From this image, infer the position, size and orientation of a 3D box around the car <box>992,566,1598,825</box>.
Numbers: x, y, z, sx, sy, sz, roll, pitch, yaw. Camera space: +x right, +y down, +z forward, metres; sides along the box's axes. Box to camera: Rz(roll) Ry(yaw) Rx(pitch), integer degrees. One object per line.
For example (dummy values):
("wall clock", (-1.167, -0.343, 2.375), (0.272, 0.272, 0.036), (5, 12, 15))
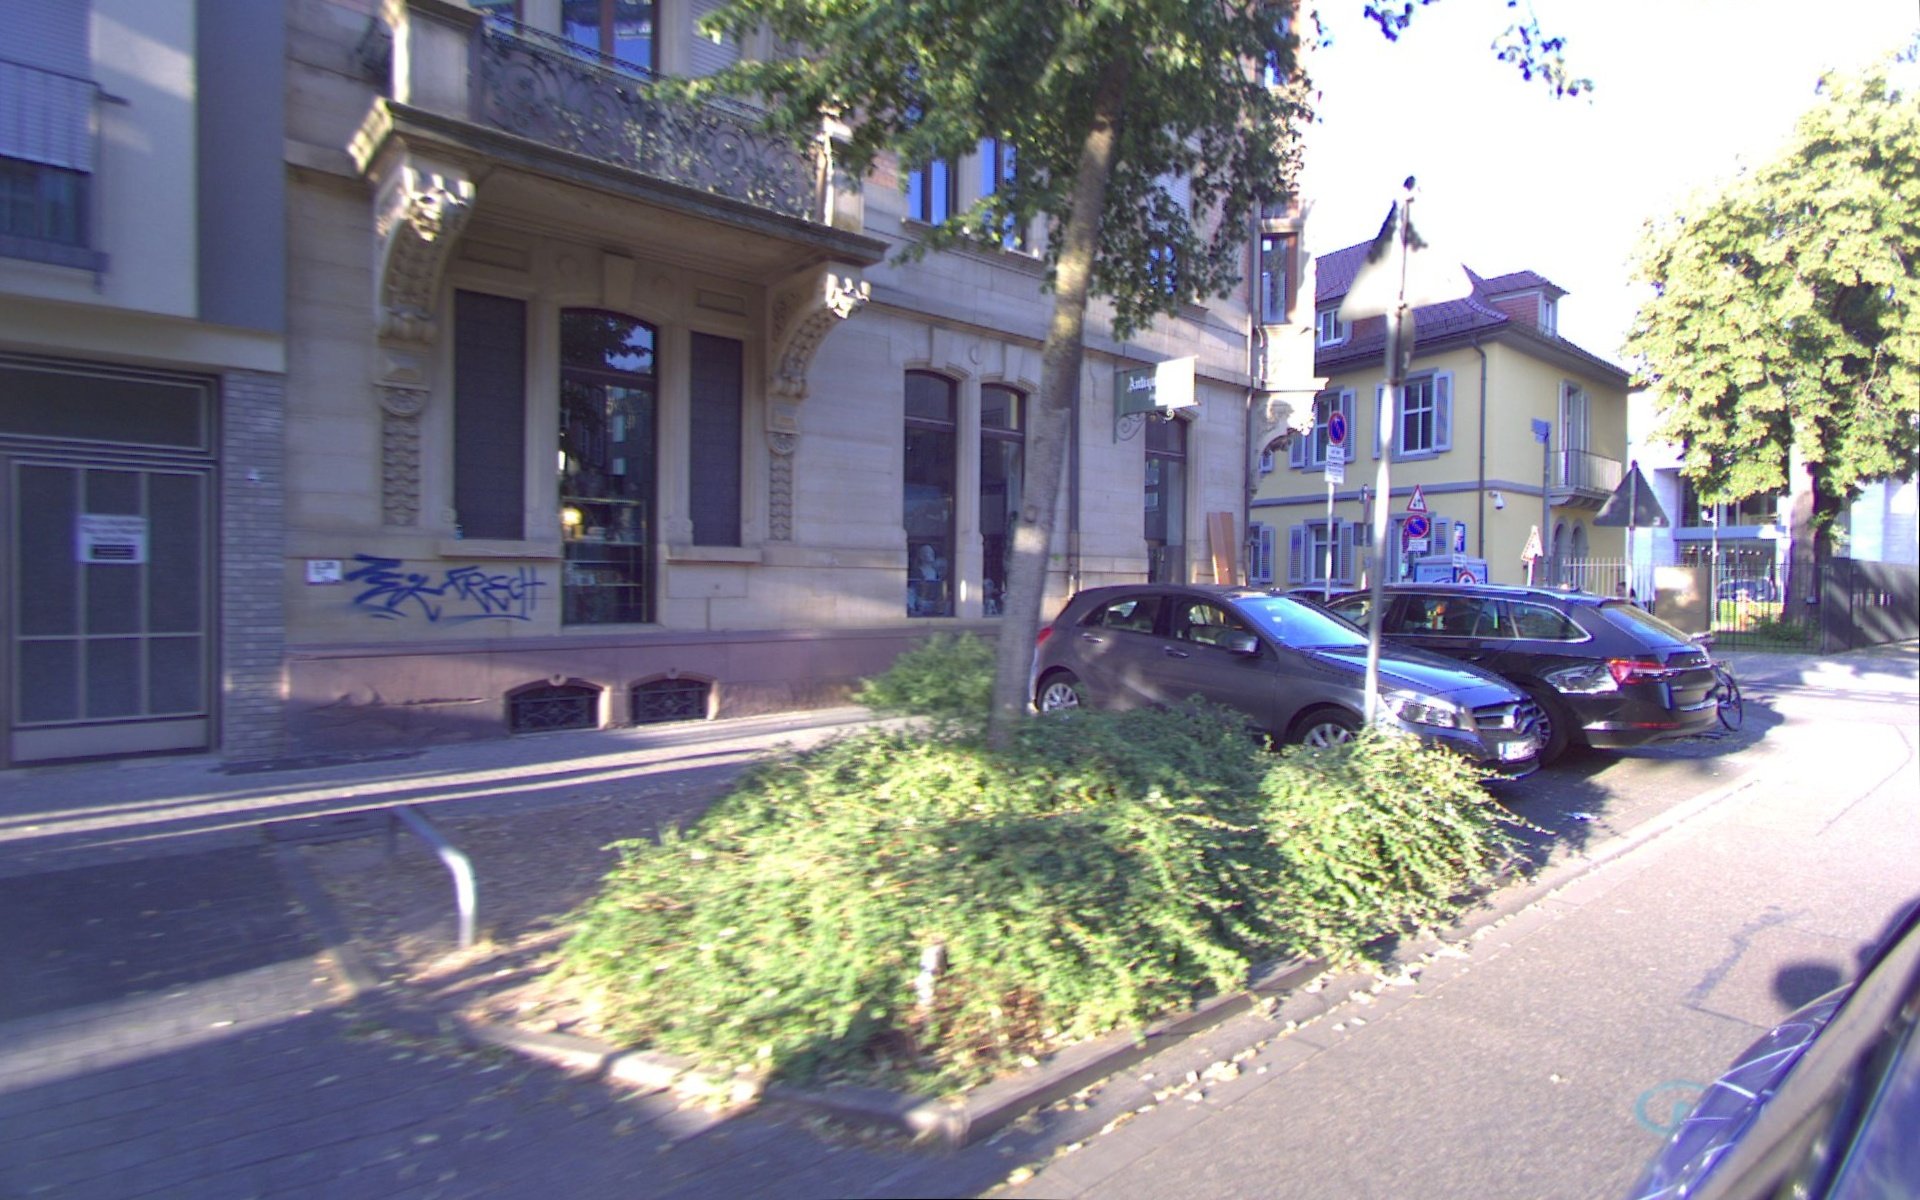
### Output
("car", (2.428, 0.502, 8.447), (1.834, 1.497, 4.539), (-1, 3, -38))

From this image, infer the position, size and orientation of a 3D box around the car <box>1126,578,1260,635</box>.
("car", (6.803, 0.146, 29.904), (1.514, 1.539, 3.984), (2, 1, -30))

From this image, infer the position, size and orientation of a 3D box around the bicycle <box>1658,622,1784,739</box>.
("bicycle", (7.860, 0.781, 10.427), (1.798, 1.060, 0.571), (0, 1, -38))

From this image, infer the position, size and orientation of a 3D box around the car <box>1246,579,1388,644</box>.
("car", (9.119, 0.264, 26.073), (1.514, 1.539, 3.225), (2, 1, -30))

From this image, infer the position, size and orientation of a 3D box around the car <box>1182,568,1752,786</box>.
("car", (4.565, 0.504, 9.763), (1.877, 1.529, 4.537), (0, 3, -40))

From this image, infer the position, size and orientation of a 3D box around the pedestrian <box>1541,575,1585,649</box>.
("pedestrian", (13.435, 0.250, 22.554), (0.459, 1.614, 0.674), (0, 1, -28))

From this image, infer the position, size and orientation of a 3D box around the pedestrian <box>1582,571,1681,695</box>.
("pedestrian", (9.387, 0.441, 14.173), (0.944, 1.679, 0.638), (0, 1, 8))

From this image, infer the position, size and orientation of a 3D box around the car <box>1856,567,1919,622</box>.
("car", (32.928, -0.223, 35.163), (3.987, 1.757, 1.710), (-1, 4, -35))
